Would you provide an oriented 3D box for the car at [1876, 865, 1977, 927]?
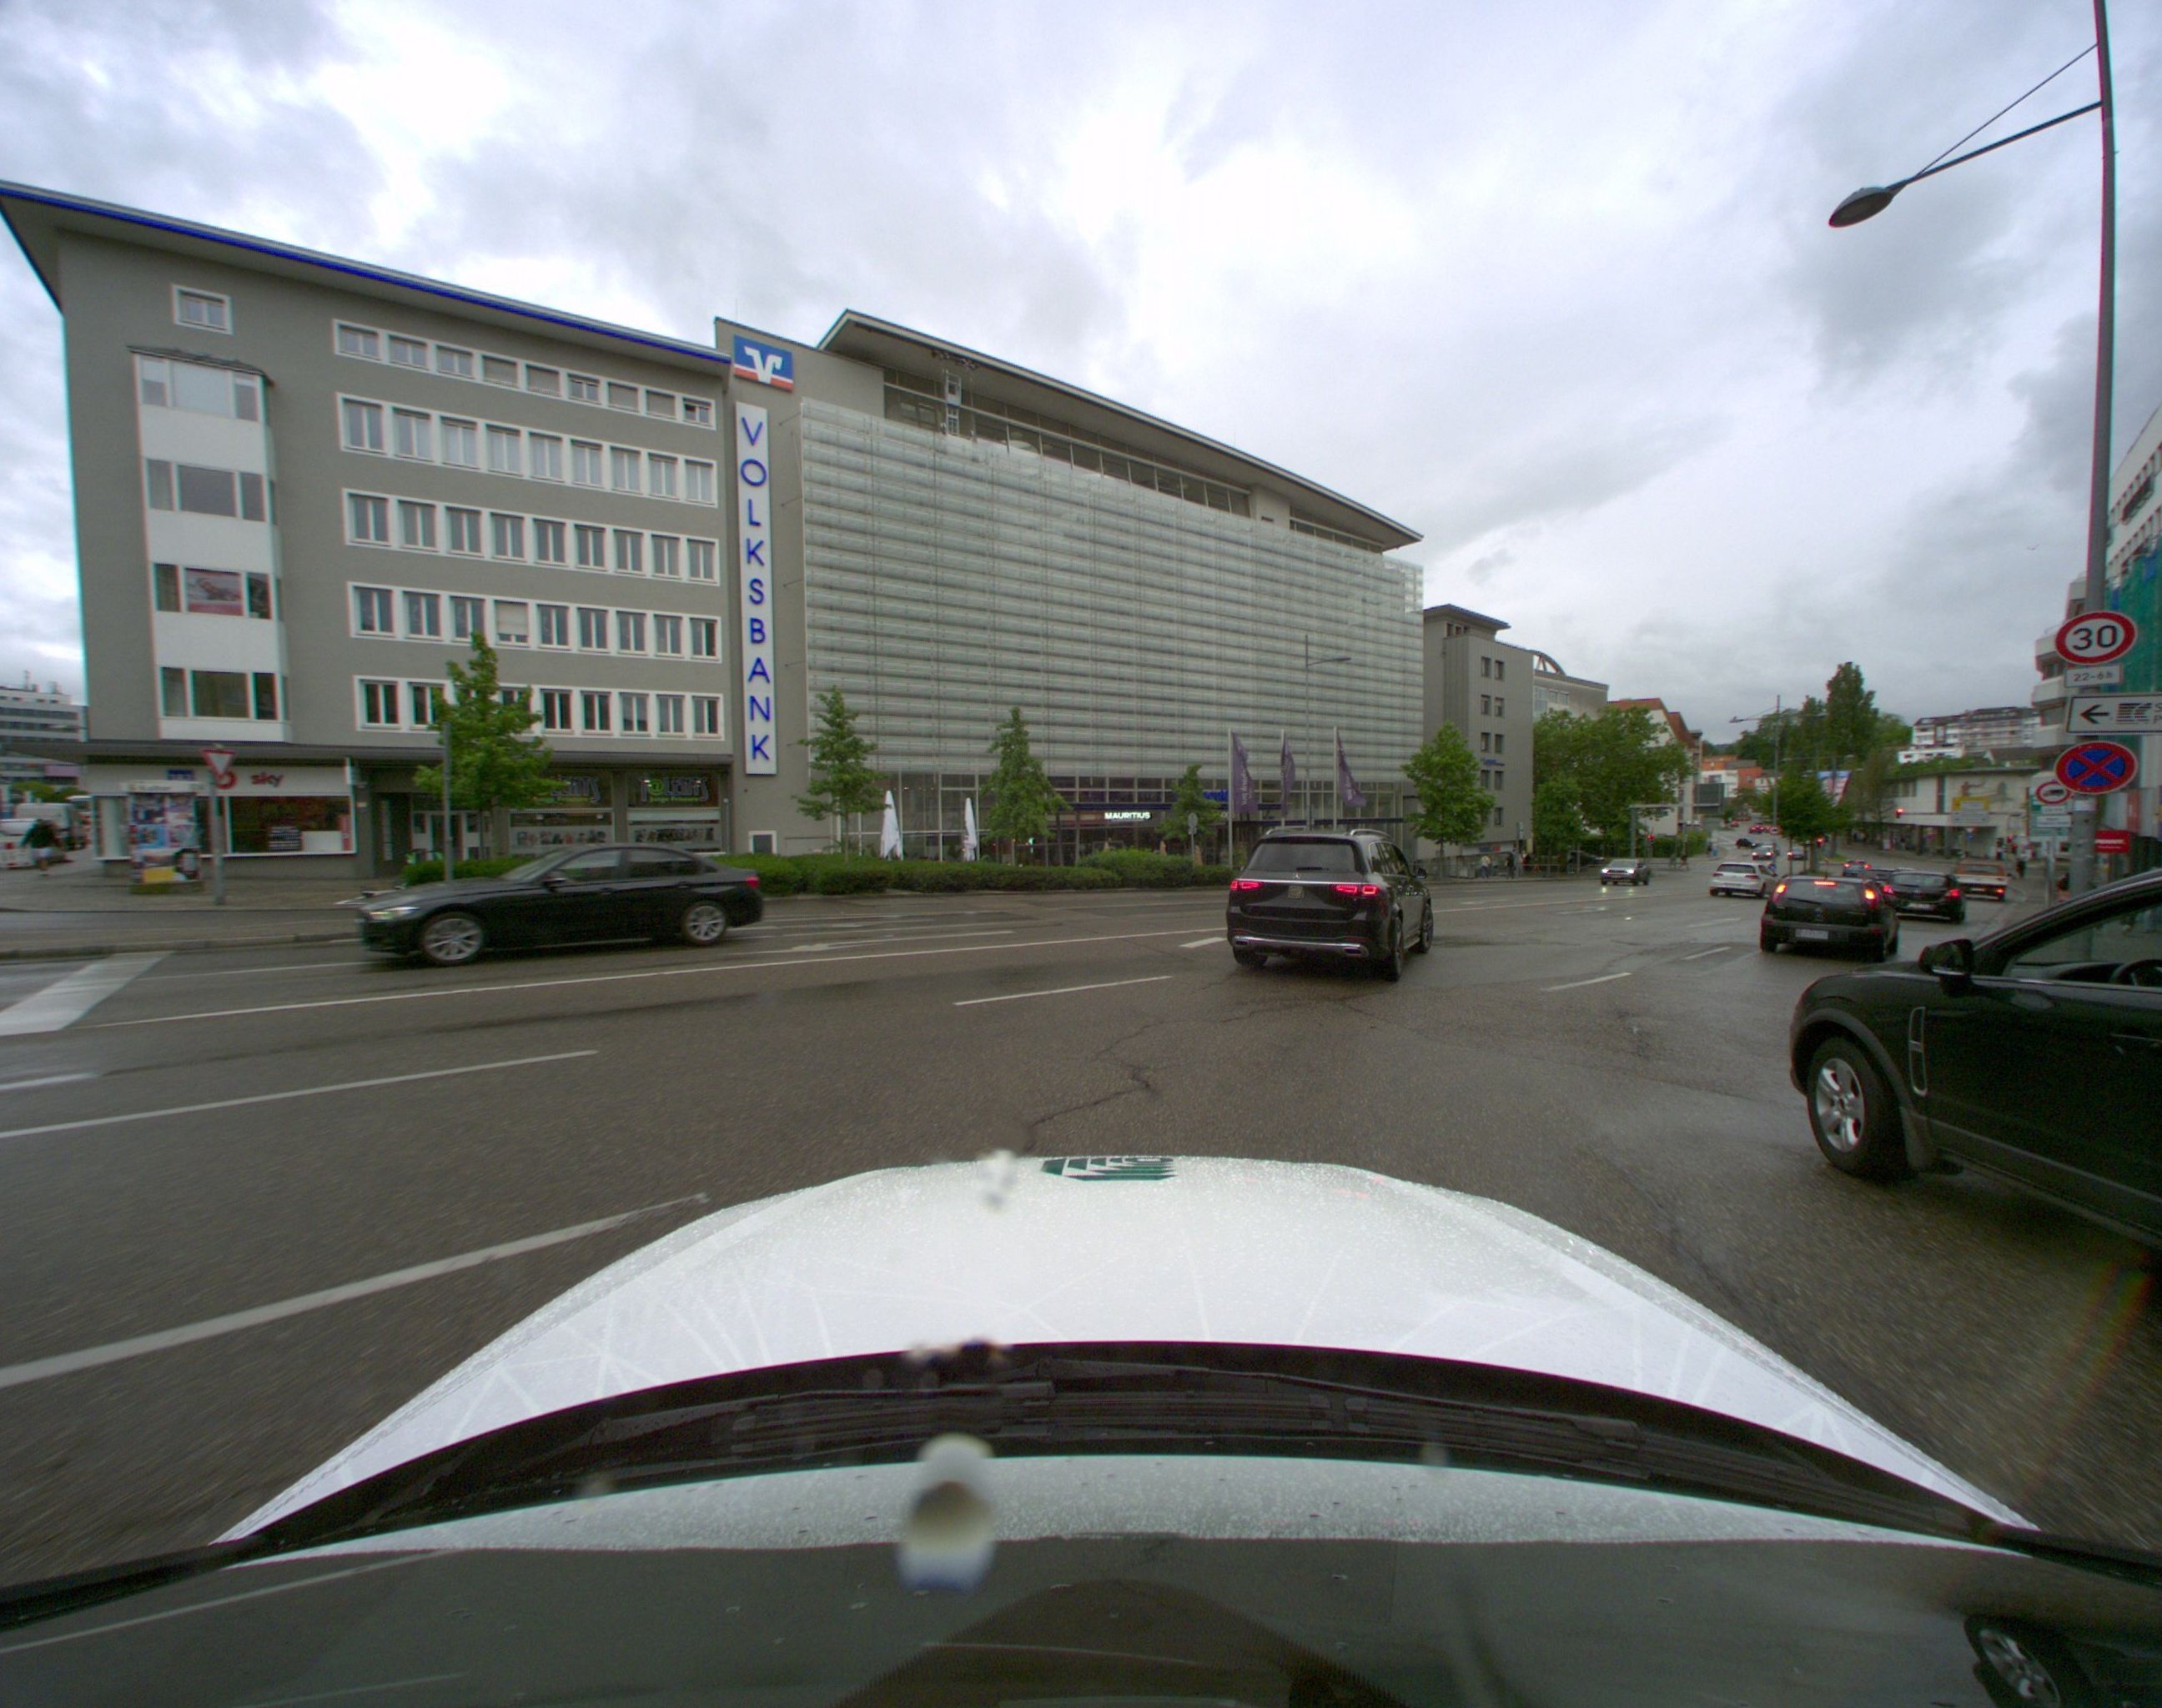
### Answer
[{"bbox_3d":[25.391,1.196,24.529,4.023,1.573,1.932,0,2,-44],"label":"car"}]

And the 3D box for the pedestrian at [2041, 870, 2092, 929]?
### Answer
[{"bbox_3d":[24.524,1.110,20.270,0.599,1.438,0.740,0,-1,-33],"label":"pedestrian"}]

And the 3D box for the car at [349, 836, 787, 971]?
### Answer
[{"bbox_3d":[-6.618,0.516,10.886,4.660,1.425,1.976,0,0,-43],"label":"car"}]

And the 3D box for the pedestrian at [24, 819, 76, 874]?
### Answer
[{"bbox_3d":[-33.726,-0.247,26.649,0.789,1.775,1.032,0,0,40],"label":"pedestrian"}]

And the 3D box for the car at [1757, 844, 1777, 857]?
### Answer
[{"bbox_3d":[82.474,-0.422,97.880,1.690,1.451,3.885,2,2,41],"label":"car"}]

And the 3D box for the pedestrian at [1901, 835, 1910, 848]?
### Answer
[{"bbox_3d":[113.820,-1.690,112.446,0.695,1.803,0.944,0,0,34],"label":"pedestrian"}]

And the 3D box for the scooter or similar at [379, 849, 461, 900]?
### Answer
[{"bbox_3d":[-18.028,0.527,22.263,1.504,1.256,0.924,-1,6,-25],"label":"scooter or similar"}]

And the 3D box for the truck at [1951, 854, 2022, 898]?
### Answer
[{"bbox_3d":[47.969,1.107,43.243,2.164,2.082,5.636,2,2,45],"label":"truck"}]

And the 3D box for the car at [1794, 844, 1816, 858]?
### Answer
[{"bbox_3d":[85.416,-0.358,96.023,1.803,1.549,4.024,2,2,43],"label":"car"}]

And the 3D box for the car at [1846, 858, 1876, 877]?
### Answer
[{"bbox_3d":[67.389,1.134,70.332,4.023,1.468,1.778,-1,2,-45],"label":"car"}]

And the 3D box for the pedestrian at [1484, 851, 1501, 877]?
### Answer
[{"bbox_3d":[27.805,0.679,54.996,0.983,1.722,1.045,0,0,31],"label":"pedestrian"}]

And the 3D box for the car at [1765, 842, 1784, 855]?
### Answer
[{"bbox_3d":[87.938,-0.677,103.311,1.761,1.549,4.025,2,2,39],"label":"car"}]

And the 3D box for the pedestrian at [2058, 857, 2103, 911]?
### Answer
[{"bbox_3d":[32.443,0.951,26.433,0.832,1.722,0.830,0,0,-33],"label":"pedestrian"}]

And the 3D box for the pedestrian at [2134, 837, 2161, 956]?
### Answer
[{"bbox_3d":[17.232,0.658,12.875,1.018,1.840,0.593,-1,1,-44],"label":"pedestrian"}]

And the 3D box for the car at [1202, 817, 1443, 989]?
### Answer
[{"bbox_3d":[3.608,0.497,11.387,2.068,1.816,4.822,3,2,30],"label":"car"}]

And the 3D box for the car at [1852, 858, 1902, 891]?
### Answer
[{"bbox_3d":[42.373,1.054,43.390,1.795,1.440,4.024,4,4,44],"label":"car"}]

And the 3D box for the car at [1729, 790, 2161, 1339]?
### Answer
[{"bbox_3d":[4.495,0.689,2.690,1.895,1.785,4.315,1,1,11],"label":"car"}]

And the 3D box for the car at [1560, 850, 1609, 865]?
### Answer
[{"bbox_3d":[57.264,0.376,92.617,4.548,1.482,1.954,4,2,36],"label":"car"}]

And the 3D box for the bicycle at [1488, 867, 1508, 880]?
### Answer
[{"bbox_3d":[35.487,1.635,69.327,2.685,1.086,0.606,1,1,-42],"label":"bicycle"}]

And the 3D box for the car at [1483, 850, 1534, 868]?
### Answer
[{"bbox_3d":[51.160,0.563,97.492,5.023,1.758,2.013,4,2,36],"label":"car"}]

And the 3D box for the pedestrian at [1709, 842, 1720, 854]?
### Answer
[{"bbox_3d":[81.064,-0.764,104.177,0.918,1.608,0.565,0,0,7],"label":"pedestrian"}]

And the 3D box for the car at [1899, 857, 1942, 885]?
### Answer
[{"bbox_3d":[52.106,1.030,50.582,4.023,1.542,1.745,-1,3,-45],"label":"car"}]

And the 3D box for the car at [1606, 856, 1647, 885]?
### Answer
[{"bbox_3d":[31.059,0.902,46.468,1.823,1.552,4.120,-1,-1,33],"label":"car"}]

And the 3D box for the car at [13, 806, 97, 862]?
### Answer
[{"bbox_3d":[-58.767,-1.109,46.761,6.076,2.957,2.467,1,1,44],"label":"car"}]

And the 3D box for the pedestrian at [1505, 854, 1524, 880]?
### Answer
[{"bbox_3d":[28.931,0.842,54.354,0.808,1.713,1.321,1,0,41],"label":"pedestrian"}]

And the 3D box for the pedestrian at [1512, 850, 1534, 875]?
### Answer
[{"bbox_3d":[31.758,0.612,58.493,1.094,1.722,0.966,0,0,-35],"label":"pedestrian"}]

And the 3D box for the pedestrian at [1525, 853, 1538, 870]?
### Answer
[{"bbox_3d":[47.161,0.795,85.267,0.954,1.722,0.753,0,0,-29],"label":"pedestrian"}]

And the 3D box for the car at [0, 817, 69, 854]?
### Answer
[{"bbox_3d":[-54.187,-0.943,42.178,4.052,1.826,1.878,1,1,43],"label":"car"}]

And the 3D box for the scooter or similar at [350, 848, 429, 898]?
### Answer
[{"bbox_3d":[-17.517,0.474,20.659,1.386,1.187,0.540,-2,1,-25],"label":"scooter or similar"}]

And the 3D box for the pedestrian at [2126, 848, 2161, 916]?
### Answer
[{"bbox_3d":[27.622,0.716,20.962,0.620,1.722,0.830,0,0,-33],"label":"pedestrian"}]

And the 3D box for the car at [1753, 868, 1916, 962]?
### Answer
[{"bbox_3d":[13.885,1.019,14.949,3.789,1.420,1.703,1,2,-40],"label":"car"}]

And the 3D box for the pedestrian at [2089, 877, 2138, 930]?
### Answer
[{"bbox_3d":[24.987,1.187,19.718,0.556,1.207,0.685,0,0,-33],"label":"pedestrian"}]

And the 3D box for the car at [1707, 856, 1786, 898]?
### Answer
[{"bbox_3d":[27.929,0.911,34.135,4.022,1.573,1.933,0,2,-42],"label":"car"}]

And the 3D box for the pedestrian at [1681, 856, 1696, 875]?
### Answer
[{"bbox_3d":[61.307,1.149,82.195,0.842,1.882,1.055,0,0,-35],"label":"pedestrian"}]
